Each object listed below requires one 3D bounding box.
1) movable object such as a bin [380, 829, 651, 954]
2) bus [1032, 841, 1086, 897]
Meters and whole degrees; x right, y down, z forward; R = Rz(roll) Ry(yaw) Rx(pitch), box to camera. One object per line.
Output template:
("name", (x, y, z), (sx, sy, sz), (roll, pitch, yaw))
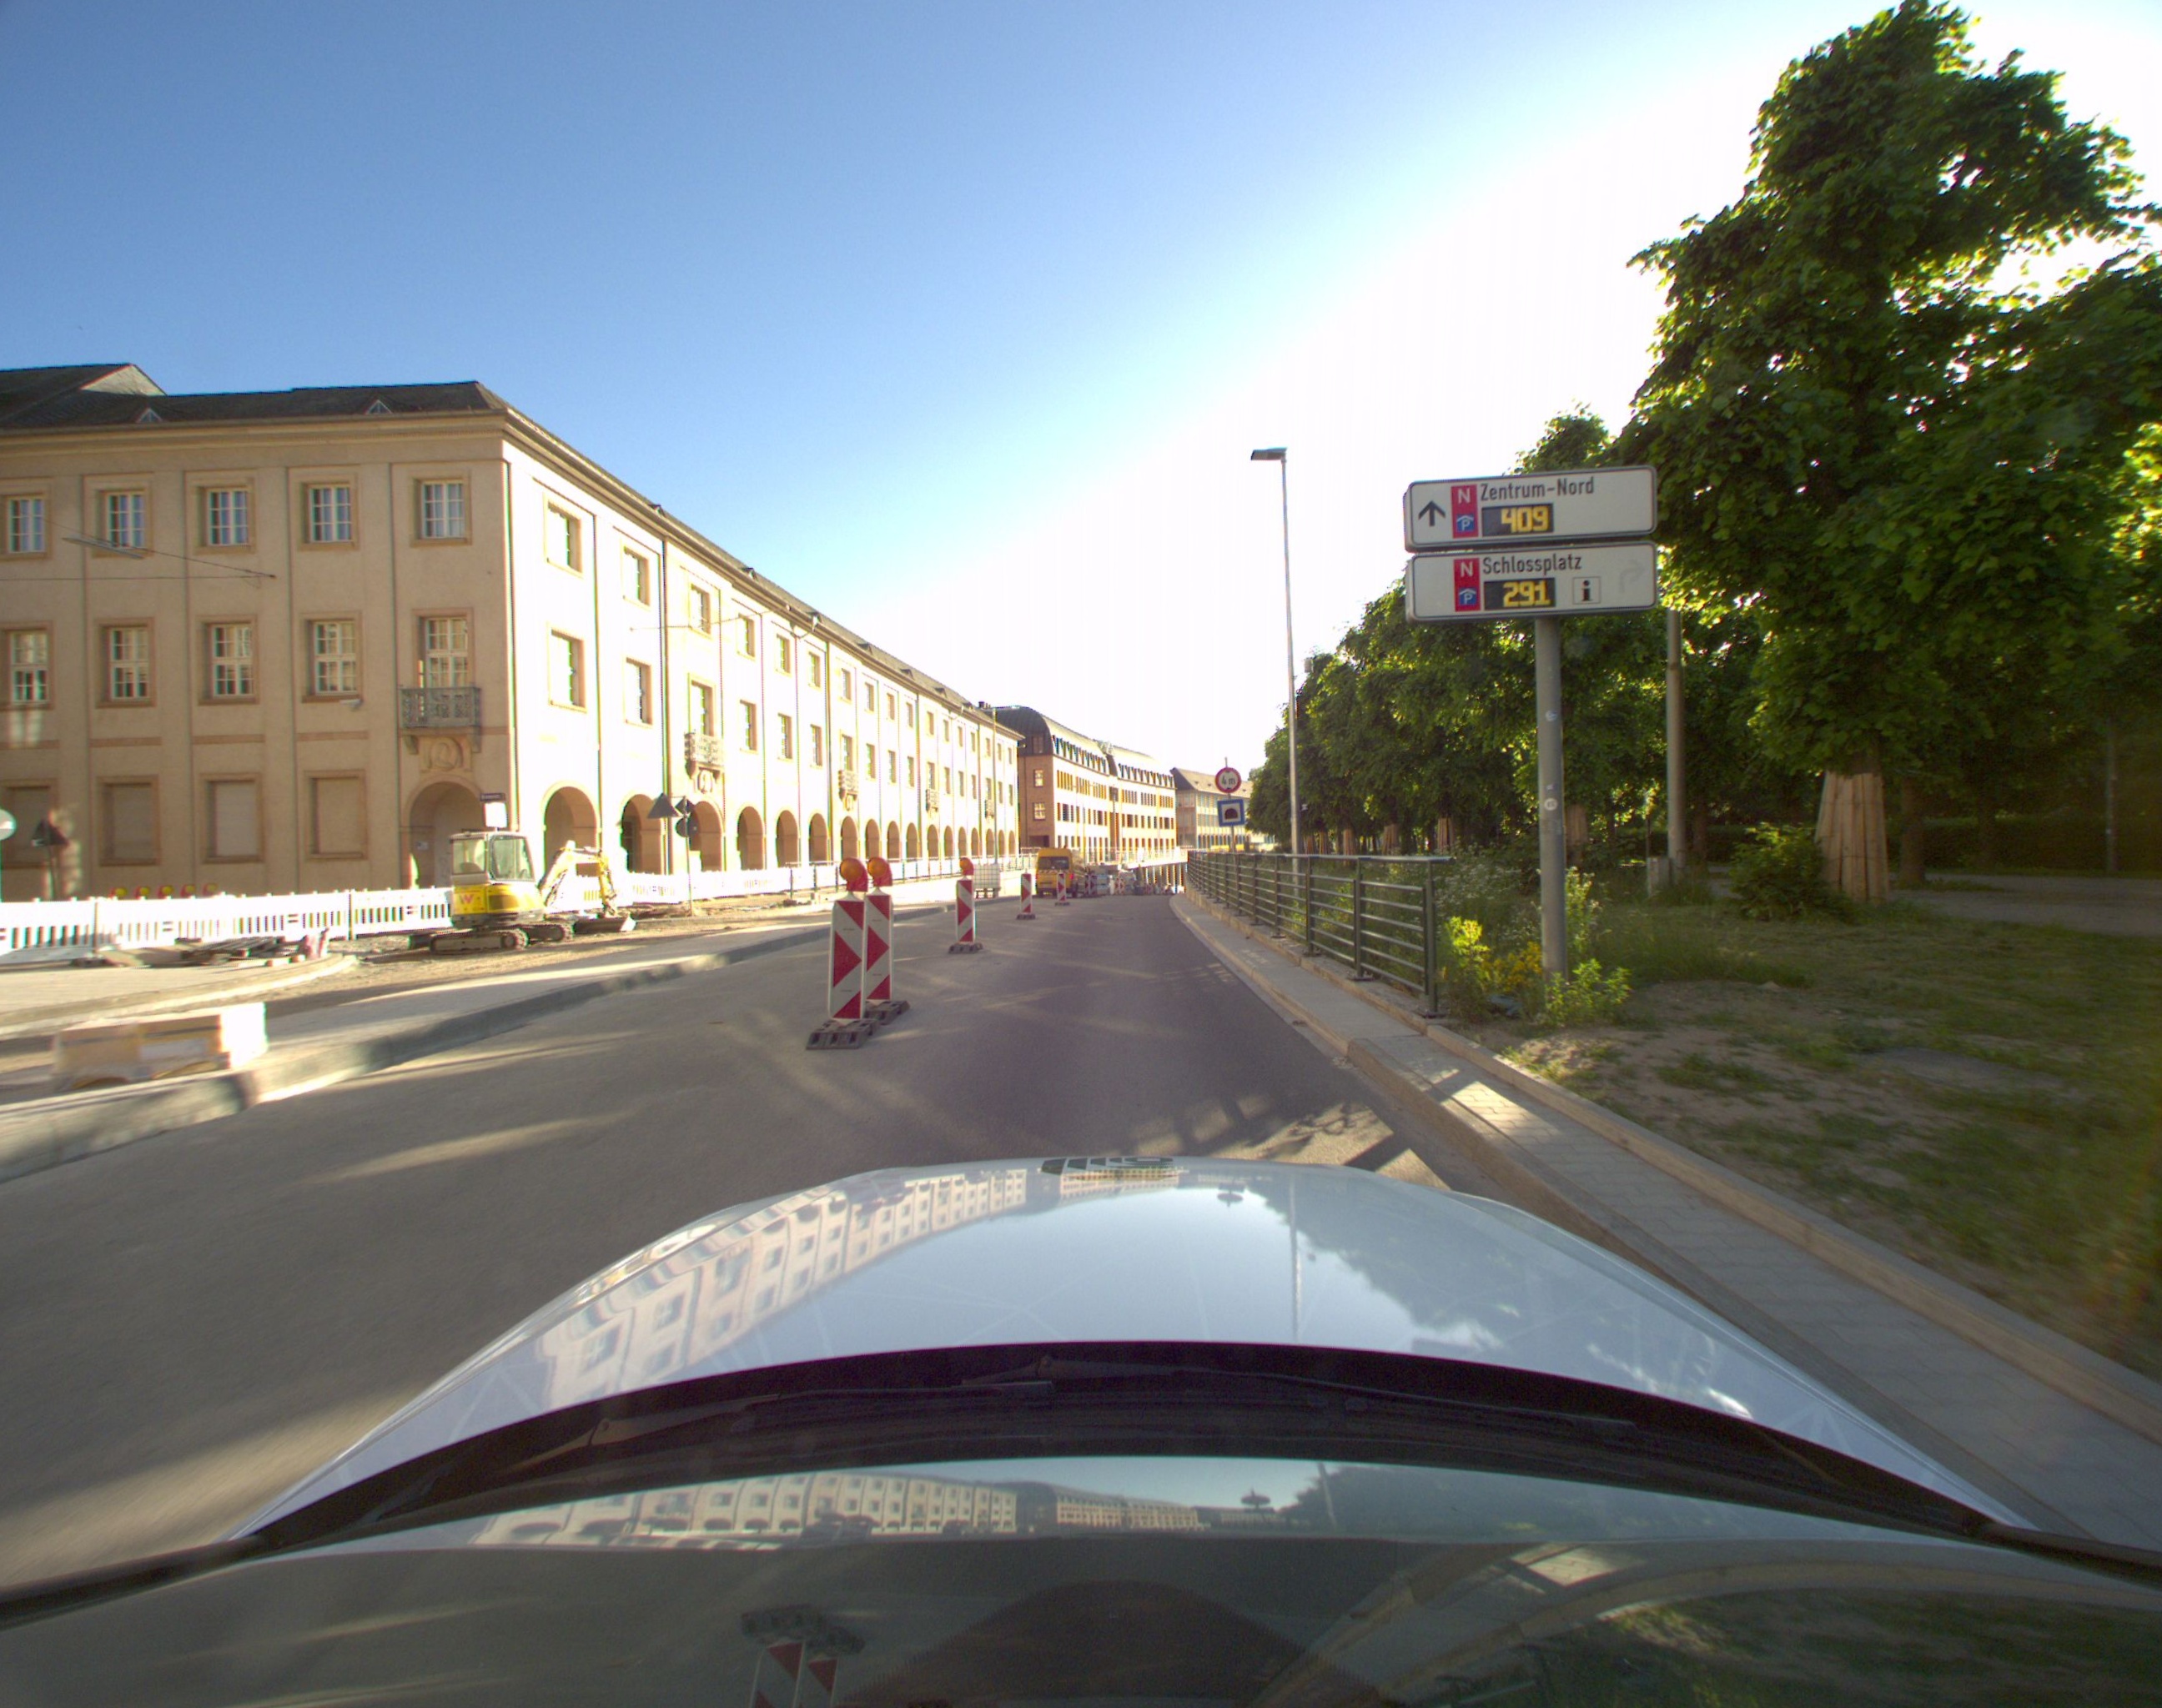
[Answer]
("movable object such as a bin", (-12.171, 0.720, 18.033), (2.533, 2.348, 4.467), (-2, 0, 6))
("bus", (-1.063, 0.808, 42.373), (2.061, 2.687, 4.692), (-2, -2, 7))
